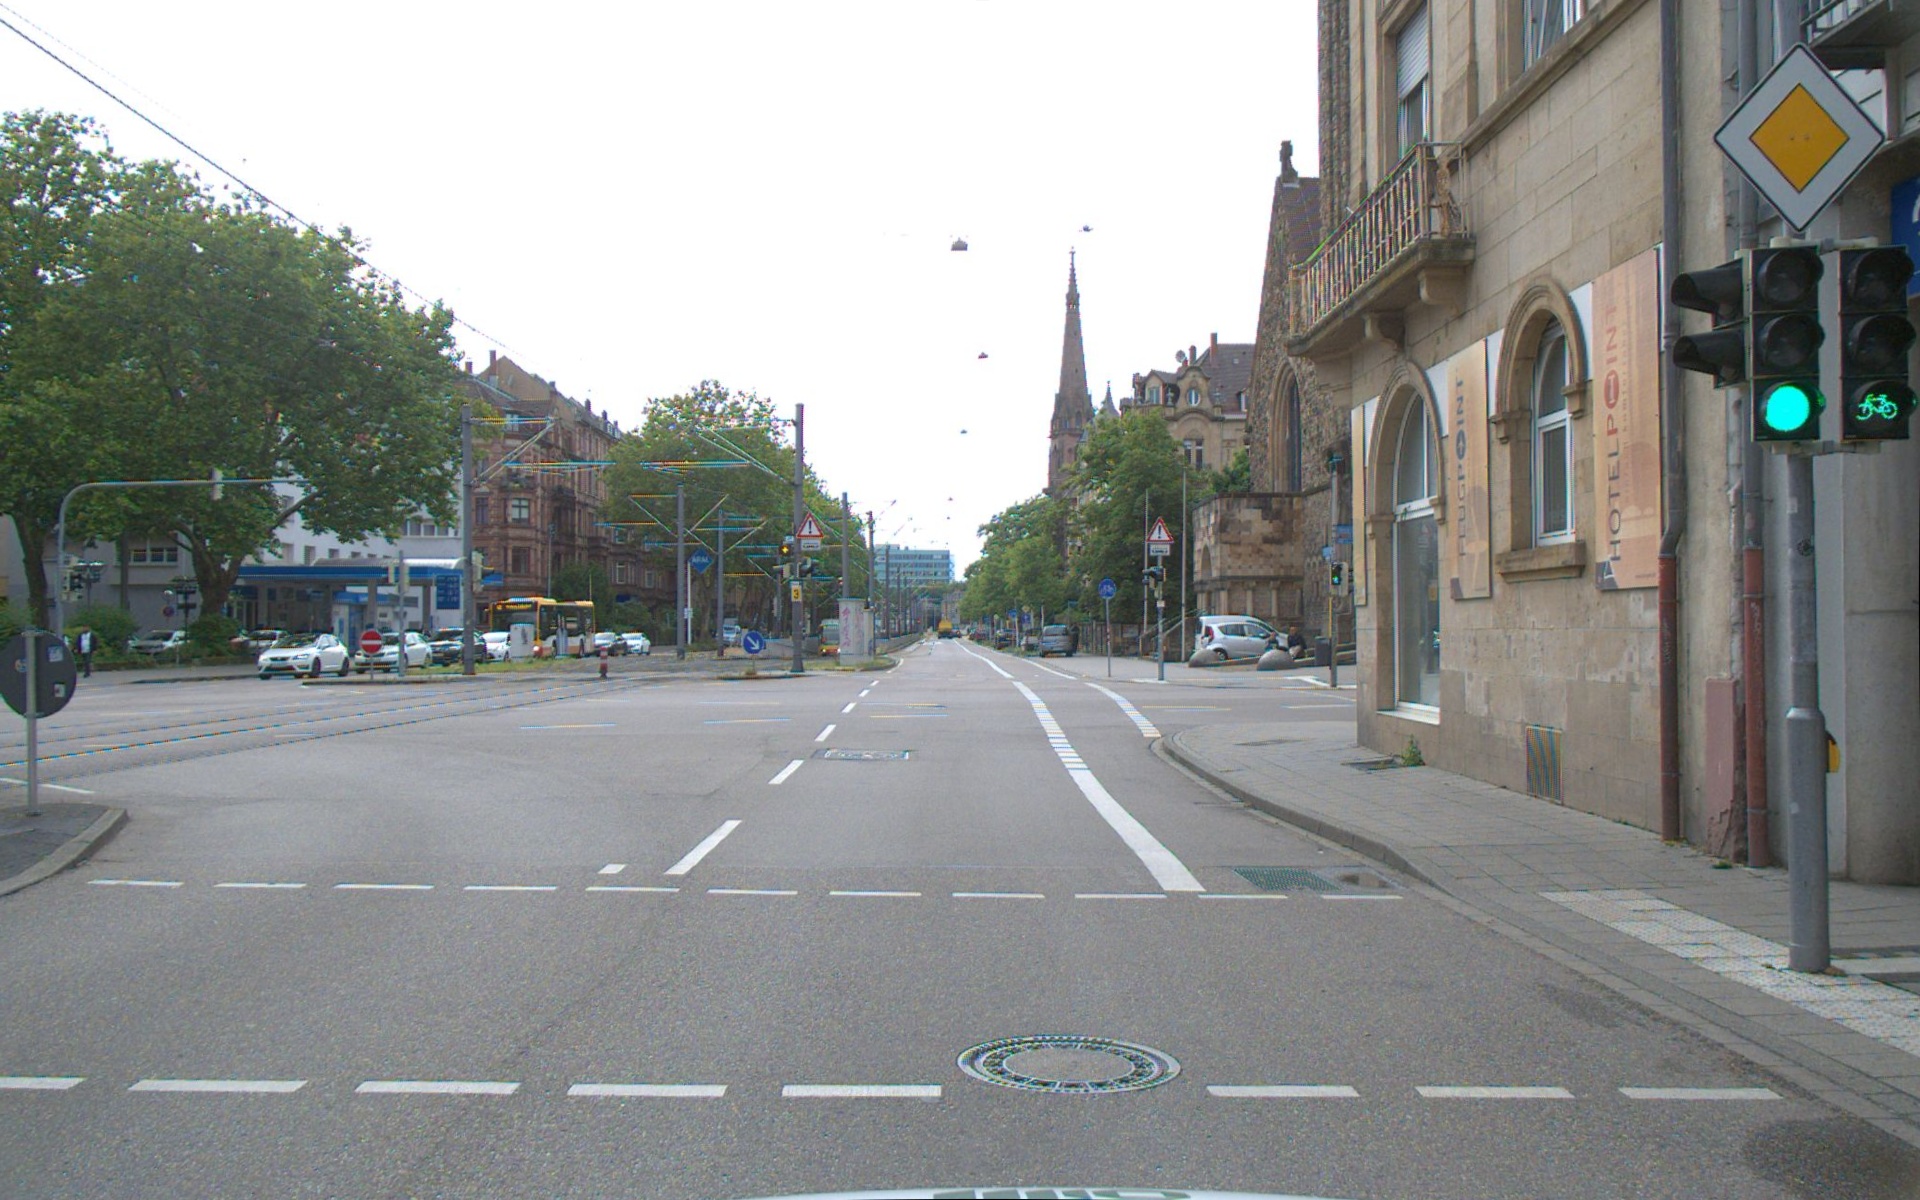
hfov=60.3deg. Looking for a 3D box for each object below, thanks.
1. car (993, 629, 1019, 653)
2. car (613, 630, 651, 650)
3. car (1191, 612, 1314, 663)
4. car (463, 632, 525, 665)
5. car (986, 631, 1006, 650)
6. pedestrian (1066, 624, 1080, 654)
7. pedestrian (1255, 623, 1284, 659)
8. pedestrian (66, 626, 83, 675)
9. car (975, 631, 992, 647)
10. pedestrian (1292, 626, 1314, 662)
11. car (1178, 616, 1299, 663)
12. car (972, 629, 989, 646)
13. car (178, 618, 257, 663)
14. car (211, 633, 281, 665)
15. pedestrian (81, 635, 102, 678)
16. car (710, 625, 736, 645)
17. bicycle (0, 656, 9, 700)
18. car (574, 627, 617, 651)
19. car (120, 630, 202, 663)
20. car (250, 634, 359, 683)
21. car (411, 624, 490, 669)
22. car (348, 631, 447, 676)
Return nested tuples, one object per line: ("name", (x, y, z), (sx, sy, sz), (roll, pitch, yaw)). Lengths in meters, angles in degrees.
("car", (3.665, 3.262, 133.188), (1.953, 1.852, 3.999), (0, -1, -1))
("car", (-21.102, 2.571, 106.571), (1.667, 1.242, 3.890), (1, -1, 0))
("car", (11.548, 1.482, 65.446), (4.517, 1.914, 1.662), (1, -1, -1))
("car", (-21.253, 2.217, 75.550), (1.667, 1.422, 3.890), (1, -1, 0))
("car", (3.653, 4.106, 169.404), (1.953, 1.915, 3.999), (0, -1, -1))
("pedestrian", (6.446, 2.208, 94.278), (0.760, 1.676, 0.799), (1, -1, 5))
("pedestrian", (10.868, 1.434, 58.100), (0.721, 1.212, 1.493), (1, -1, 0))
("pedestrian", (-27.619, 1.578, 51.588), (0.354, 1.505, 0.373), (0, -1, -7))
("car", (2.976, 4.881, 207.544), (1.953, 1.959, 3.998), (1, -1, -2))
("pedestrian", (12.168, 1.539, 58.639), (0.721, 1.250, 1.063), (1, -1, 14))
("car", (10.409, 1.473, 61.962), (4.260, 1.665, 1.662), (1, -1, -1))
("car", (2.651, 4.876, 215.246), (1.953, 2.049, 3.998), (1, -1, -2))
("car", (-34.887, 1.894, 77.840), (1.953, 2.049, 3.999), (-1, -1, -1))
("car", (-32.494, 2.204, 75.344), (1.667, 1.382, 3.403), (1, -1, 0))
("pedestrian", (-27.185, 1.768, 51.784), (0.446, 1.349, 0.469), (0, -1, -7))
("car", (-20.931, 3.091, 146.150), (1.667, 1.742, 3.890), (1, -1, 0))
("bicycle", (-23.826, 1.908, 39.802), (0.712, 1.083, 1.992), (-2, -1, -1))
("car", (-21.805, 2.322, 98.990), (1.667, 1.382, 3.890), (1, -1, 0))
("car", (-37.637, 2.159, 77.970), (1.953, 1.492, 3.999), (0, -1, -1))
("car", (-21.326, 1.864, 53.981), (1.804, 1.473, 4.412), (1, -1, -1))
("car", (-21.221, 1.905, 69.109), (1.667, 1.814, 5.149), (1, -1, 0))
("car", (-21.072, 1.973, 62.212), (1.803, 1.552, 5.701), (1, -1, -1))
